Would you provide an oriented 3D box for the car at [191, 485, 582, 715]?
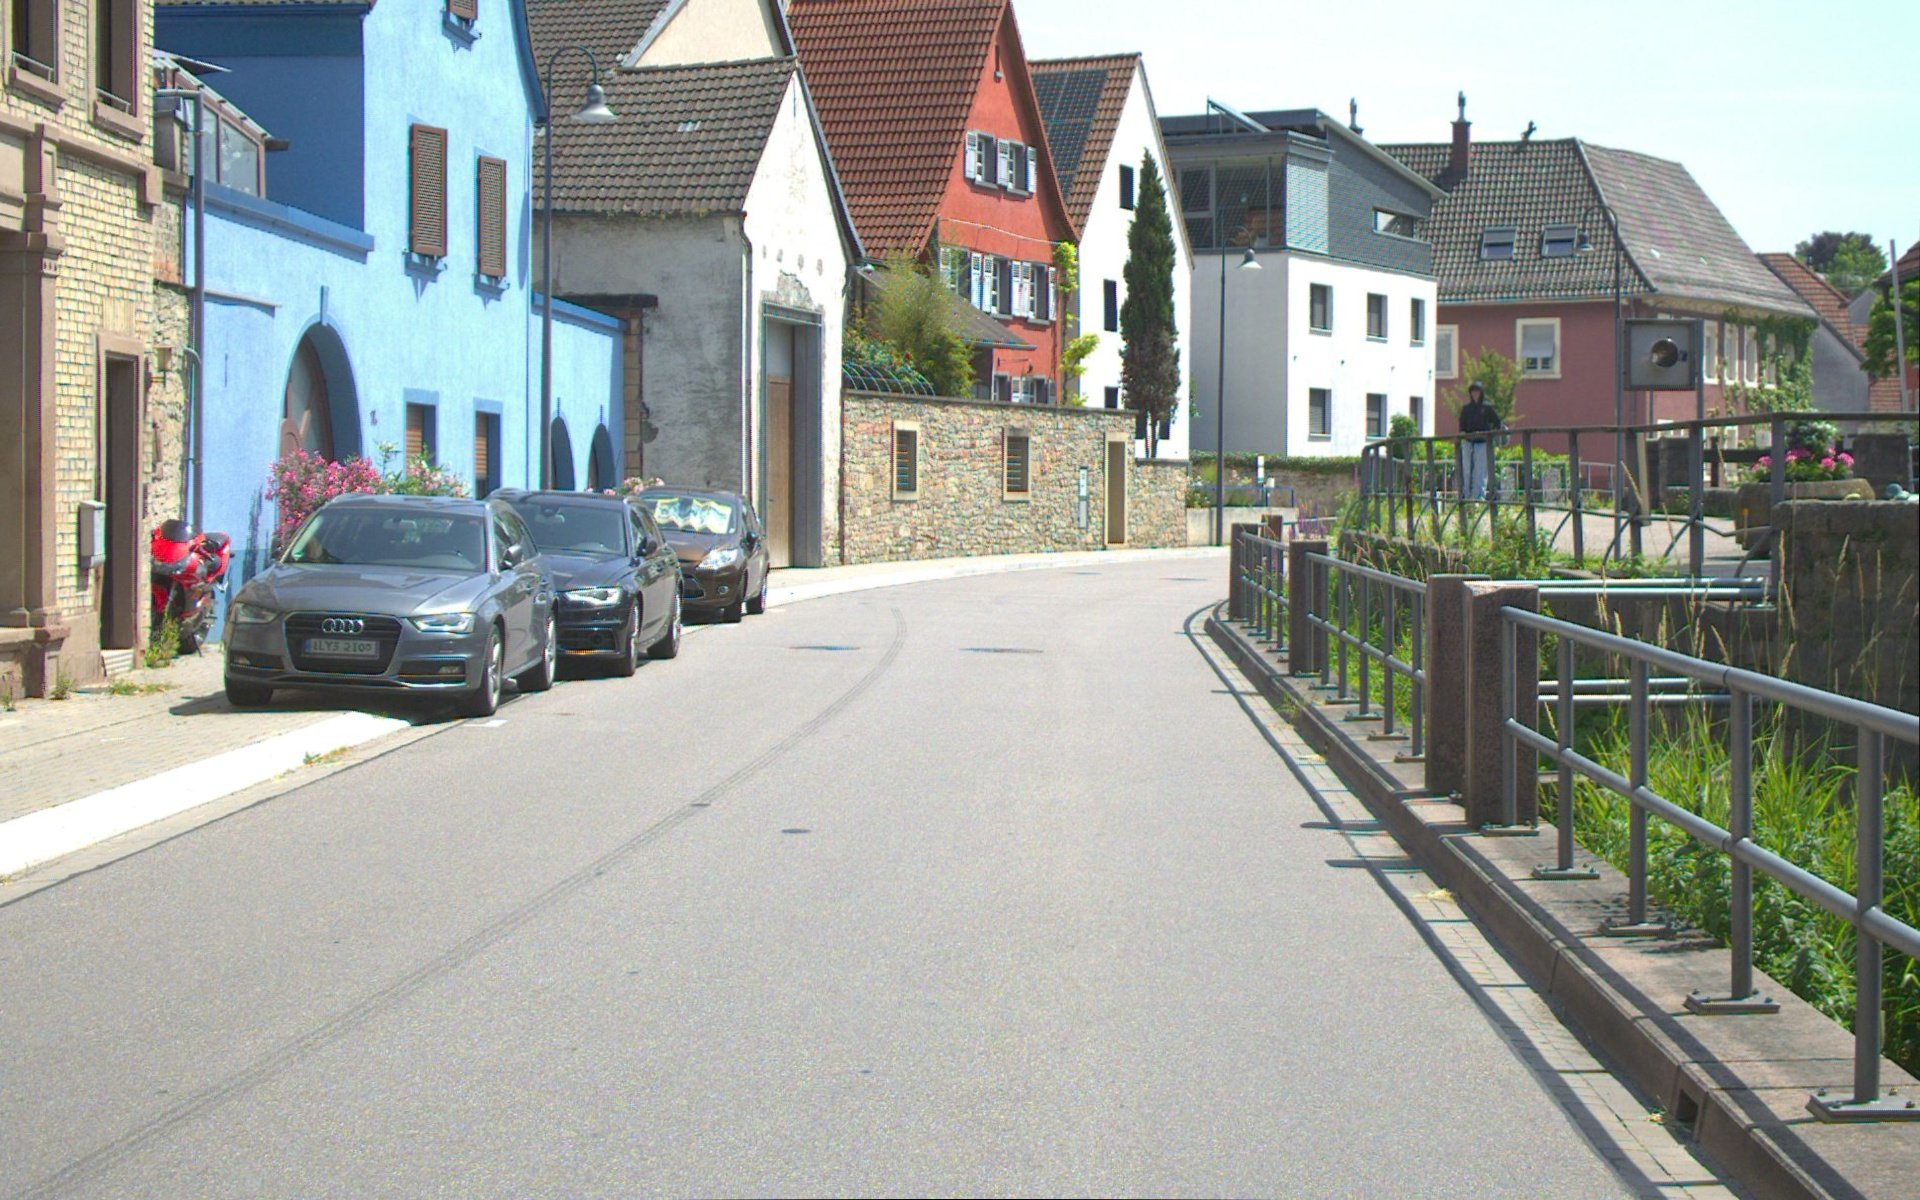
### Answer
[{"bbox_3d":[-3.967,-0.049,24.550,1.957,1.460,4.546,1,1,1],"label":"car"}]

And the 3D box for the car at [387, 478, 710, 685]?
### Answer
[{"bbox_3d":[-3.409,-0.230,29.347,1.885,1.459,4.668,3,3,3],"label":"car"}]

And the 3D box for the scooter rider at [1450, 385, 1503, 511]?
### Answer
[{"bbox_3d":[7.176,-2.103,47.748,0.641,1.726,0.554,1,2,3],"label":"scooter rider"}]

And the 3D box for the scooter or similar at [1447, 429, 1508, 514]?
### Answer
[{"bbox_3d":[7.161,-1.774,47.610,0.641,1.138,1.811,-1,2,3],"label":"scooter or similar"}]

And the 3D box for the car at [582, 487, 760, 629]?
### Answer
[{"bbox_3d":[-3.296,-0.524,39.780,1.717,1.524,3.857,0,2,0],"label":"car"}]

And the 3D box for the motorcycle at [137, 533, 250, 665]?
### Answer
[{"bbox_3d":[-6.211,-0.025,27.924,0.418,0.997,1.858,5,2,0],"label":"motorcycle"}]
